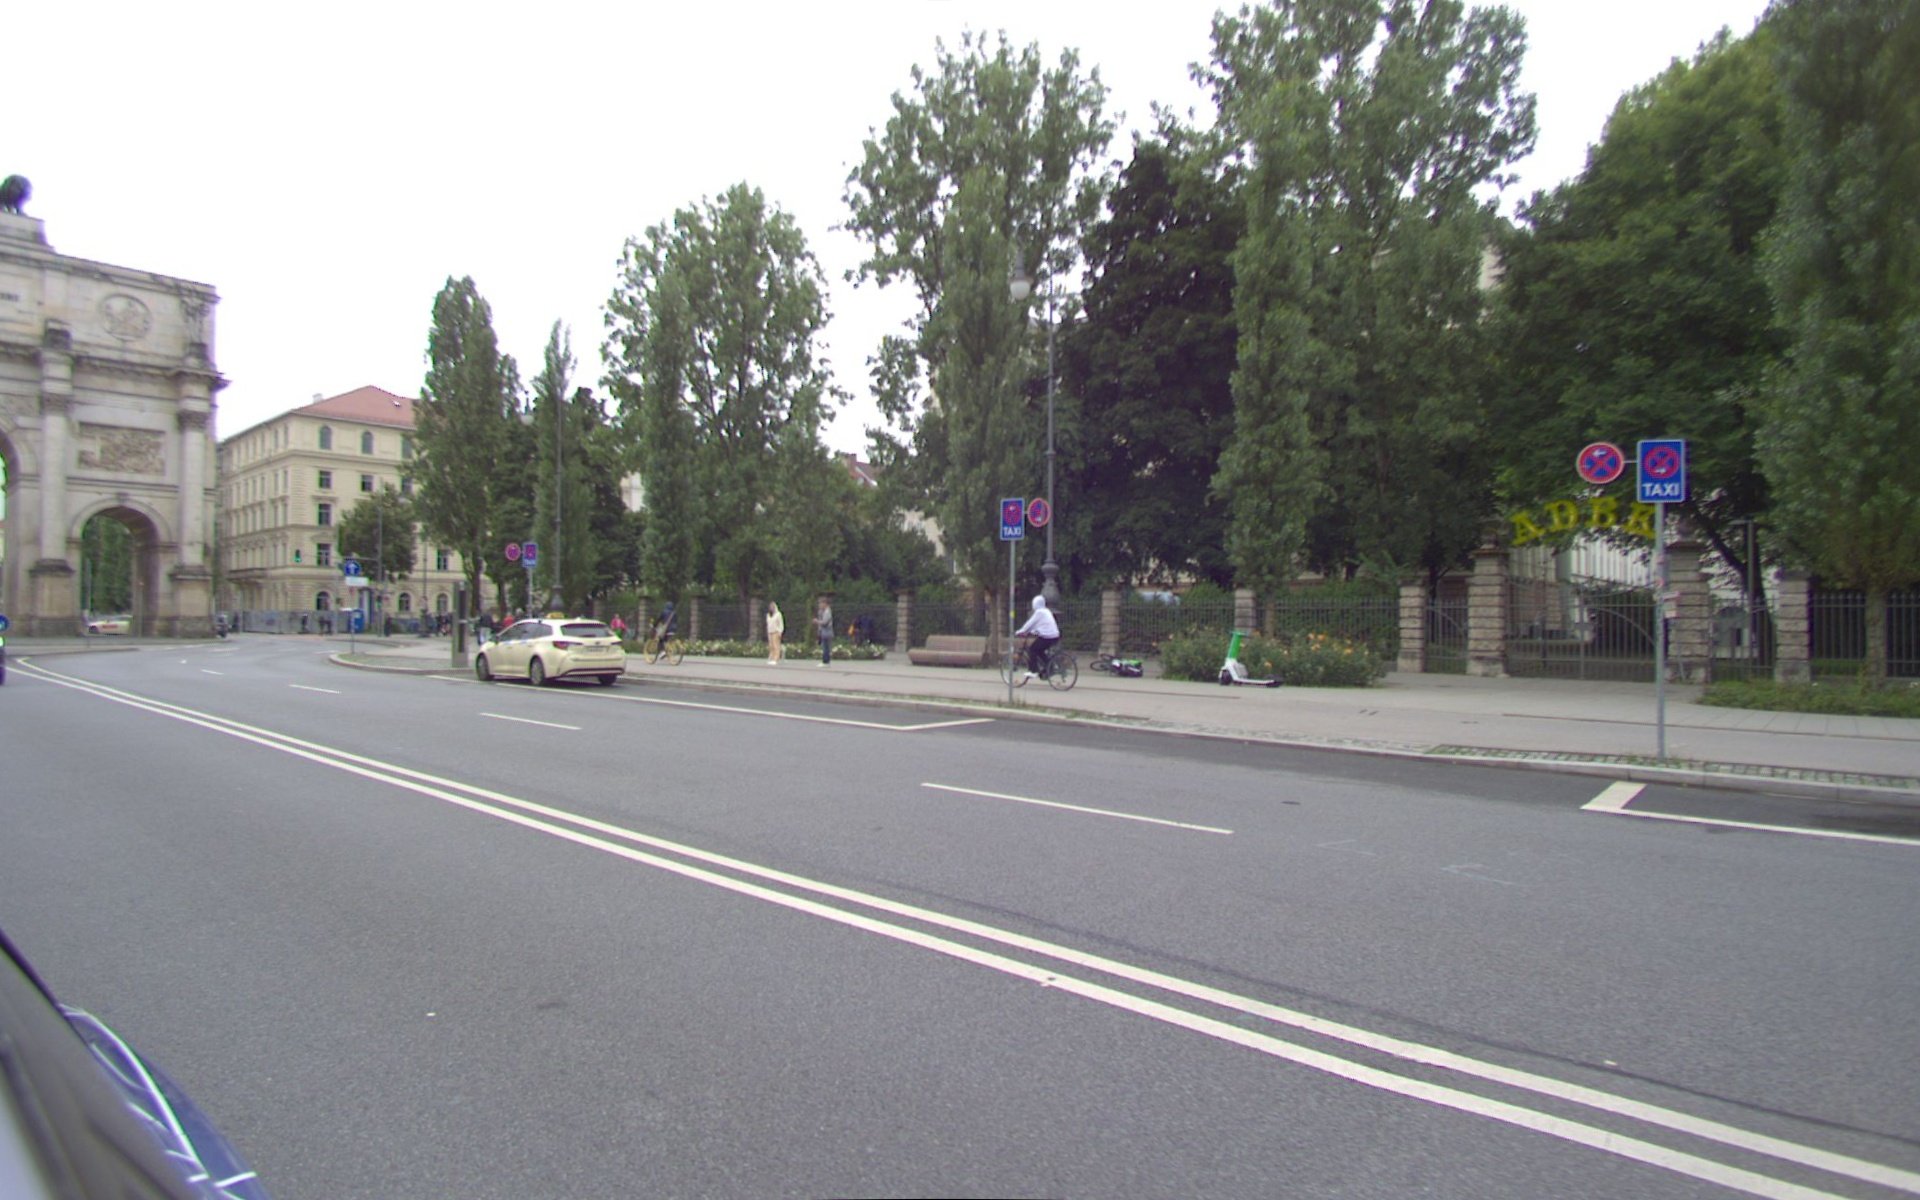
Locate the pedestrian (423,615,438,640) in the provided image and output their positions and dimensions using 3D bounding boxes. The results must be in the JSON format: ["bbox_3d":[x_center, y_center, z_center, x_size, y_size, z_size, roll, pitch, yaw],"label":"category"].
[{"bbox_3d":[-40.729,2.110,77.812,0.868,1.836,0.687,1,-2,-39],"label":"pedestrian"}]

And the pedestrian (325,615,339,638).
[{"bbox_3d":[-51.915,2.194,83.615,0.868,1.836,0.687,1,-2,-39],"label":"pedestrian"}]

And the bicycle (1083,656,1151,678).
[{"bbox_3d":[3.998,1.689,25.526,1.331,0.456,2.203,-1,-2,19],"label":"bicycle"}]

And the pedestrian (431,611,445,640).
[{"bbox_3d":[-38.068,1.858,73.787,0.758,2.029,0.888,1,-2,-39],"label":"pedestrian"}]

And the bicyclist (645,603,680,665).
[{"bbox_3d":[-7.928,0.896,26.991,0.660,1.604,0.639,-1,0,40],"label":"bicyclist"}]

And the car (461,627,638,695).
[{"bbox_3d":[-9.203,1.283,22.508,4.465,1.347,1.774,-1,-2,40],"label":"car"}]

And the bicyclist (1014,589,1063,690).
[{"bbox_3d":[1.464,0.722,18.858,0.660,1.837,0.583,-1,0,40],"label":"bicyclist"}]

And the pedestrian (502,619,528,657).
[{"bbox_3d":[-22.662,1.924,51.498,0.976,1.885,1.032,0,0,-38],"label":"pedestrian"}]

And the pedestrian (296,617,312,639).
[{"bbox_3d":[-55.953,2.387,86.308,1.017,1.836,0.883,1,-2,-41],"label":"pedestrian"}]

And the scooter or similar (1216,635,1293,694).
[{"bbox_3d":[6.230,1.350,21.411,1.414,1.187,0.738,-1,-3,37],"label":"scooter or similar"}]

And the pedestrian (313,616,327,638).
[{"bbox_3d":[-52.230,2.196,82.565,0.868,1.836,0.687,1,-2,-39],"label":"pedestrian"}]

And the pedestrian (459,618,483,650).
[{"bbox_3d":[-24.373,1.698,50.447,0.875,1.528,1.032,0,0,-38],"label":"pedestrian"}]

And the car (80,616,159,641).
[{"bbox_3d":[-59.262,1.984,71.413,3.946,1.763,1.999,0,-1,2],"label":"car"}]

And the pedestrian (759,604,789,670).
[{"bbox_3d":[-4.945,0.985,26.931,0.581,1.744,0.527,-1,-2,31],"label":"pedestrian"}]

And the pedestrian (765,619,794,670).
[{"bbox_3d":[-4.961,1.218,27.846,0.581,1.386,0.527,-1,-2,31],"label":"pedestrian"}]

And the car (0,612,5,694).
[{"bbox_3d":[-20.684,1.037,20.250,4.182,1.598,1.817,-1,-2,40],"label":"car"}]

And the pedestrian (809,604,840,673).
[{"bbox_3d":[-3.466,0.973,25.910,0.581,1.744,0.527,-1,-2,31],"label":"pedestrian"}]

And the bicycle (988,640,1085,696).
[{"bbox_3d":[1.406,1.244,18.930,1.913,0.959,0.464,-1,-1,41],"label":"bicycle"}]

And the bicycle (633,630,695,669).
[{"bbox_3d":[-7.892,1.307,26.962,1.913,0.959,0.666,-1,0,41],"label":"bicycle"}]

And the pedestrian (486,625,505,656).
[{"bbox_3d":[-23.312,2.031,50.802,0.718,1.528,0.843,0,0,-38],"label":"pedestrian"}]

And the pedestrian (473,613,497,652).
[{"bbox_3d":[-21.461,1.461,45.736,0.944,1.731,1.034,0,0,-26],"label":"pedestrian"}]

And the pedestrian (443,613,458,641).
[{"bbox_3d":[-37.409,2.011,74.338,0.758,2.029,0.888,1,-2,-39],"label":"pedestrian"}]

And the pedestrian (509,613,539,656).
[{"bbox_3d":[-18.227,1.426,42.347,0.945,1.731,1.033,0,0,-36],"label":"pedestrian"}]

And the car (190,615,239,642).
[{"bbox_3d":[-52.212,1.953,70.849,3.998,1.829,1.973,-1,-2,41],"label":"car"}]
